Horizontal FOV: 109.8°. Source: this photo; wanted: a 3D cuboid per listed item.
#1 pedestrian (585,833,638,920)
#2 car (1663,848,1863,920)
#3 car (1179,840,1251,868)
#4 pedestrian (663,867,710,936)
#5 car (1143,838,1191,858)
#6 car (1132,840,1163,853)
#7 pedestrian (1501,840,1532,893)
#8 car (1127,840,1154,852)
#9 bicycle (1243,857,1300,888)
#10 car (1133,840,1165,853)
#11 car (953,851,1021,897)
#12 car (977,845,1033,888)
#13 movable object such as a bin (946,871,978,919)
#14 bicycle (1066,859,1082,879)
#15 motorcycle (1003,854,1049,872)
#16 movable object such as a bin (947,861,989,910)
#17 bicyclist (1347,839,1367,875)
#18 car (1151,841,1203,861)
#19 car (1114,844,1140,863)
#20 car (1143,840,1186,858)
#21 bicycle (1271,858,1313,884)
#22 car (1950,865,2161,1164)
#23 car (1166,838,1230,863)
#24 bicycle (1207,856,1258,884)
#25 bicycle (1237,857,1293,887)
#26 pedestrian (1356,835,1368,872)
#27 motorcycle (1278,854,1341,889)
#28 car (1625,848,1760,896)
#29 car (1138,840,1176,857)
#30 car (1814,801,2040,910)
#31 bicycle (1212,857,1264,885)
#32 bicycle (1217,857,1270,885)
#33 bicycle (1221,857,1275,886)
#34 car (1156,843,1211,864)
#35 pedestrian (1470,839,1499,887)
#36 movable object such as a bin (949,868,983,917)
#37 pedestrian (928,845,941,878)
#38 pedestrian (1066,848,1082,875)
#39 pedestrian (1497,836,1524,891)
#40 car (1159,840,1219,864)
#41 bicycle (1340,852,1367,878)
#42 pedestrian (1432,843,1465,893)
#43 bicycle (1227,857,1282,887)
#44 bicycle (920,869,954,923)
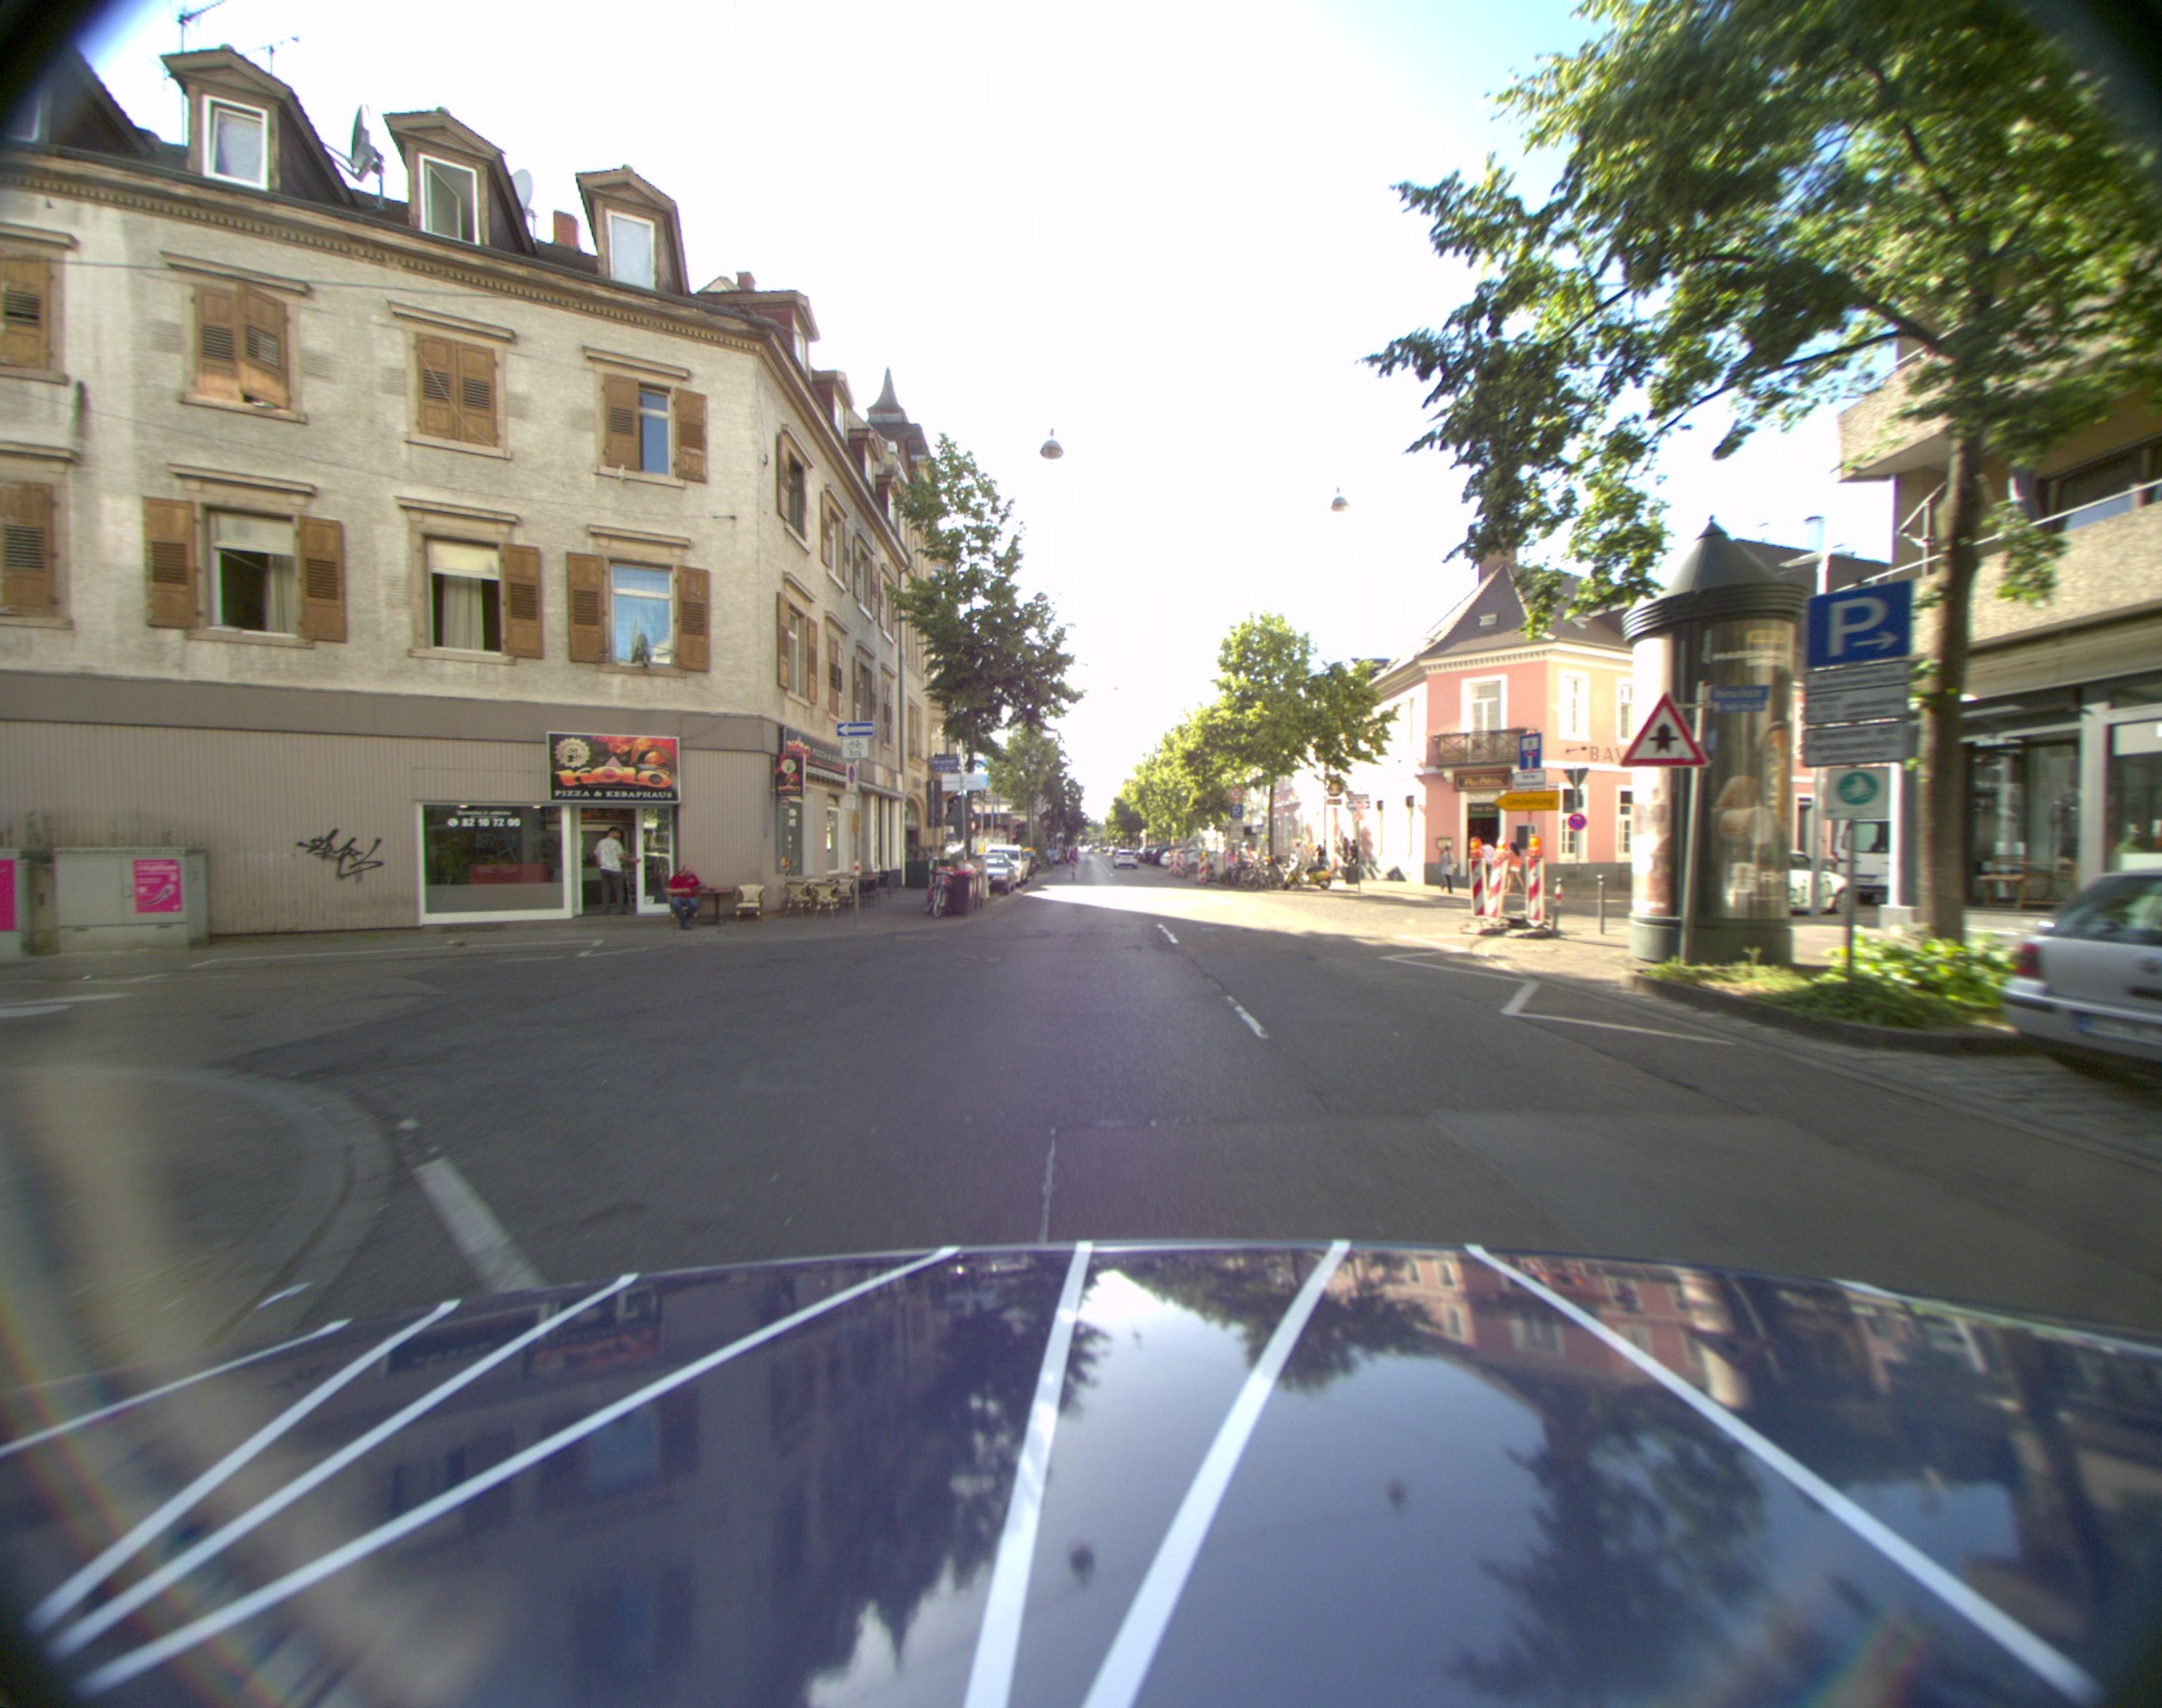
[{"bbox_3d":[-9.412,0.425,15.228,0.801,1.687,0.705,-2,4,-38],"label":"pedestrian"},{"bbox_3d":[15.205,0.599,16.965,3.607,1.468,1.901,0,1,-22],"label":"car"},{"bbox_3d":[8.391,0.006,47.767,4.134,1.671,1.999,-1,1,0],"label":"car"},{"bbox_3d":[-7.693,0.911,14.818,0.714,1.252,0.589,-2,4,-38],"label":"pedestrian"},{"bbox_3d":[7.803,-0.534,68.918,4.134,1.792,1.911,-1,1,0],"label":"car"},{"bbox_3d":[9.337,-1.022,107.251,4.134,1.792,1.911,-1,1,0],"label":"car"},{"bbox_3d":[14.060,0.400,24.554,0.630,1.717,0.580,0,1,-2],"label":"pedestrian"},{"bbox_3d":[9.277,-1.217,118.320,4.134,1.792,1.911,-1,1,0],"label":"car"},{"bbox_3d":[7.009,0.670,27.983,2.006,1.023,0.473,-2,2,-12],"label":"bicycle"},{"bbox_3d":[9.333,-1.057,104.187,4.134,1.792,1.911,-1,1,0],"label":"car"},{"bbox_3d":[-3.200,0.629,26.627,1.835,1.410,4.158,2,1,0],"label":"car"},{"bbox_3d":[-3.106,0.463,31.966,1.835,1.641,4.159,2,1,1],"label":"car"},{"bbox_3d":[-2.793,0.966,17.888,0.634,1.062,0.602,1,3,2],"label":"movable object such as a bin"},{"bbox_3d":[-0.361,0.766,39.398,0.805,0.958,1.996,-1,0,0],"label":"bicycle"},{"bbox_3d":[-3.381,0.570,46.585,2.656,1.071,0.962,0,1,-14],"label":"motorcycle"},{"bbox_3d":[-2.872,0.797,19.426,0.944,1.207,0.699,1,2,1],"label":"movable object such as a bin"},{"bbox_3d":[11.817,0.114,32.553,0.570,1.496,0.751,0,3,0],"label":"bicyclist"},{"bbox_3d":[8.006,-0.285,63.780,4.134,1.585,1.911,-1,1,0],"label":"car"},{"bbox_3d":[3.592,-0.055,59.280,1.835,1.410,3.832,0,1,1],"label":"car"},{"bbox_3d":[8.452,-0.508,76.772,4.134,1.792,1.911,-1,1,0],"label":"car"},{"bbox_3d":[8.083,0.648,29.162,1.513,0.945,0.360,-1,2,41],"label":"bicycle"},{"bbox_3d":[7.574,0.807,3.973,4.008,1.456,1.748,-2,3,1],"label":"car"},{"bbox_3d":[8.156,-0.242,53.176,4.134,1.671,1.999,-1,1,0],"label":"car"},{"bbox_3d":[6.155,0.646,30.870,2.006,1.023,0.473,-2,2,-12],"label":"bicycle"},{"bbox_3d":[6.907,0.658,28.510,2.006,1.023,0.473,-2,2,-12],"label":"bicycle"},{"bbox_3d":[13.254,-0.018,35.883,0.517,1.717,0.525,0,1,18],"label":"pedestrian"},{"bbox_3d":[8.129,0.619,27.053,2.003,1.178,0.740,-1,1,3],"label":"motorcycle"},{"bbox_3d":[20.147,0.546,25.040,3.607,1.468,1.996,0,1,-23],"label":"car"},{"bbox_3d":[8.574,-0.622,86.071,4.134,1.792,1.911,-1,1,0],"label":"car"},{"bbox_3d":[22.648,0.010,20.291,6.515,2.567,2.220,0,1,-25],"label":"car"},{"bbox_3d":[6.266,0.654,30.336,2.006,1.023,0.473,-2,2,-12],"label":"bicycle"},{"bbox_3d":[6.371,0.663,29.865,2.006,1.023,0.473,-2,2,-12],"label":"bicycle"},{"bbox_3d":[6.466,0.670,29.442,2.006,1.023,0.473,-2,2,-12],"label":"bicycle"},{"bbox_3d":[8.179,-0.074,60.925,4.134,1.585,1.911,-1,1,0],"label":"car"},{"bbox_3d":[14.012,0.307,26.394,0.581,1.653,0.705,-1,1,-37],"label":"pedestrian"},{"bbox_3d":[-2.797,0.924,18.560,0.721,1.149,0.602,0,1,3],"label":"movable object such as a bin"},{"bbox_3d":[-6.370,0.335,33.094,0.460,1.434,0.521,-1,2,-1],"label":"pedestrian"},{"bbox_3d":[-0.358,0.397,39.309,0.804,1.381,0.931,-1,1,-1],"label":"pedestrian"},{"bbox_3d":[14.299,0.318,25.275,0.632,1.802,0.578,-1,2,-39],"label":"pedestrian"},{"bbox_3d":[7.867,-0.188,55.722,4.134,1.671,1.999,-1,1,0],"label":"car"},{"bbox_3d":[11.818,0.466,32.985,0.570,1.081,1.652,0,0,0],"label":"bicycle"},{"bbox_3d":[12.099,0.446,25.004,0.650,1.592,0.863,-1,1,1],"label":"pedestrian"},{"bbox_3d":[6.597,0.674,28.948,2.006,1.023,0.473,-2,2,-12],"label":"bicycle"},{"bbox_3d":[-3.383,0.952,17.734,0.378,1.139,1.669,1,2,-24],"label":"bicycle"}]
